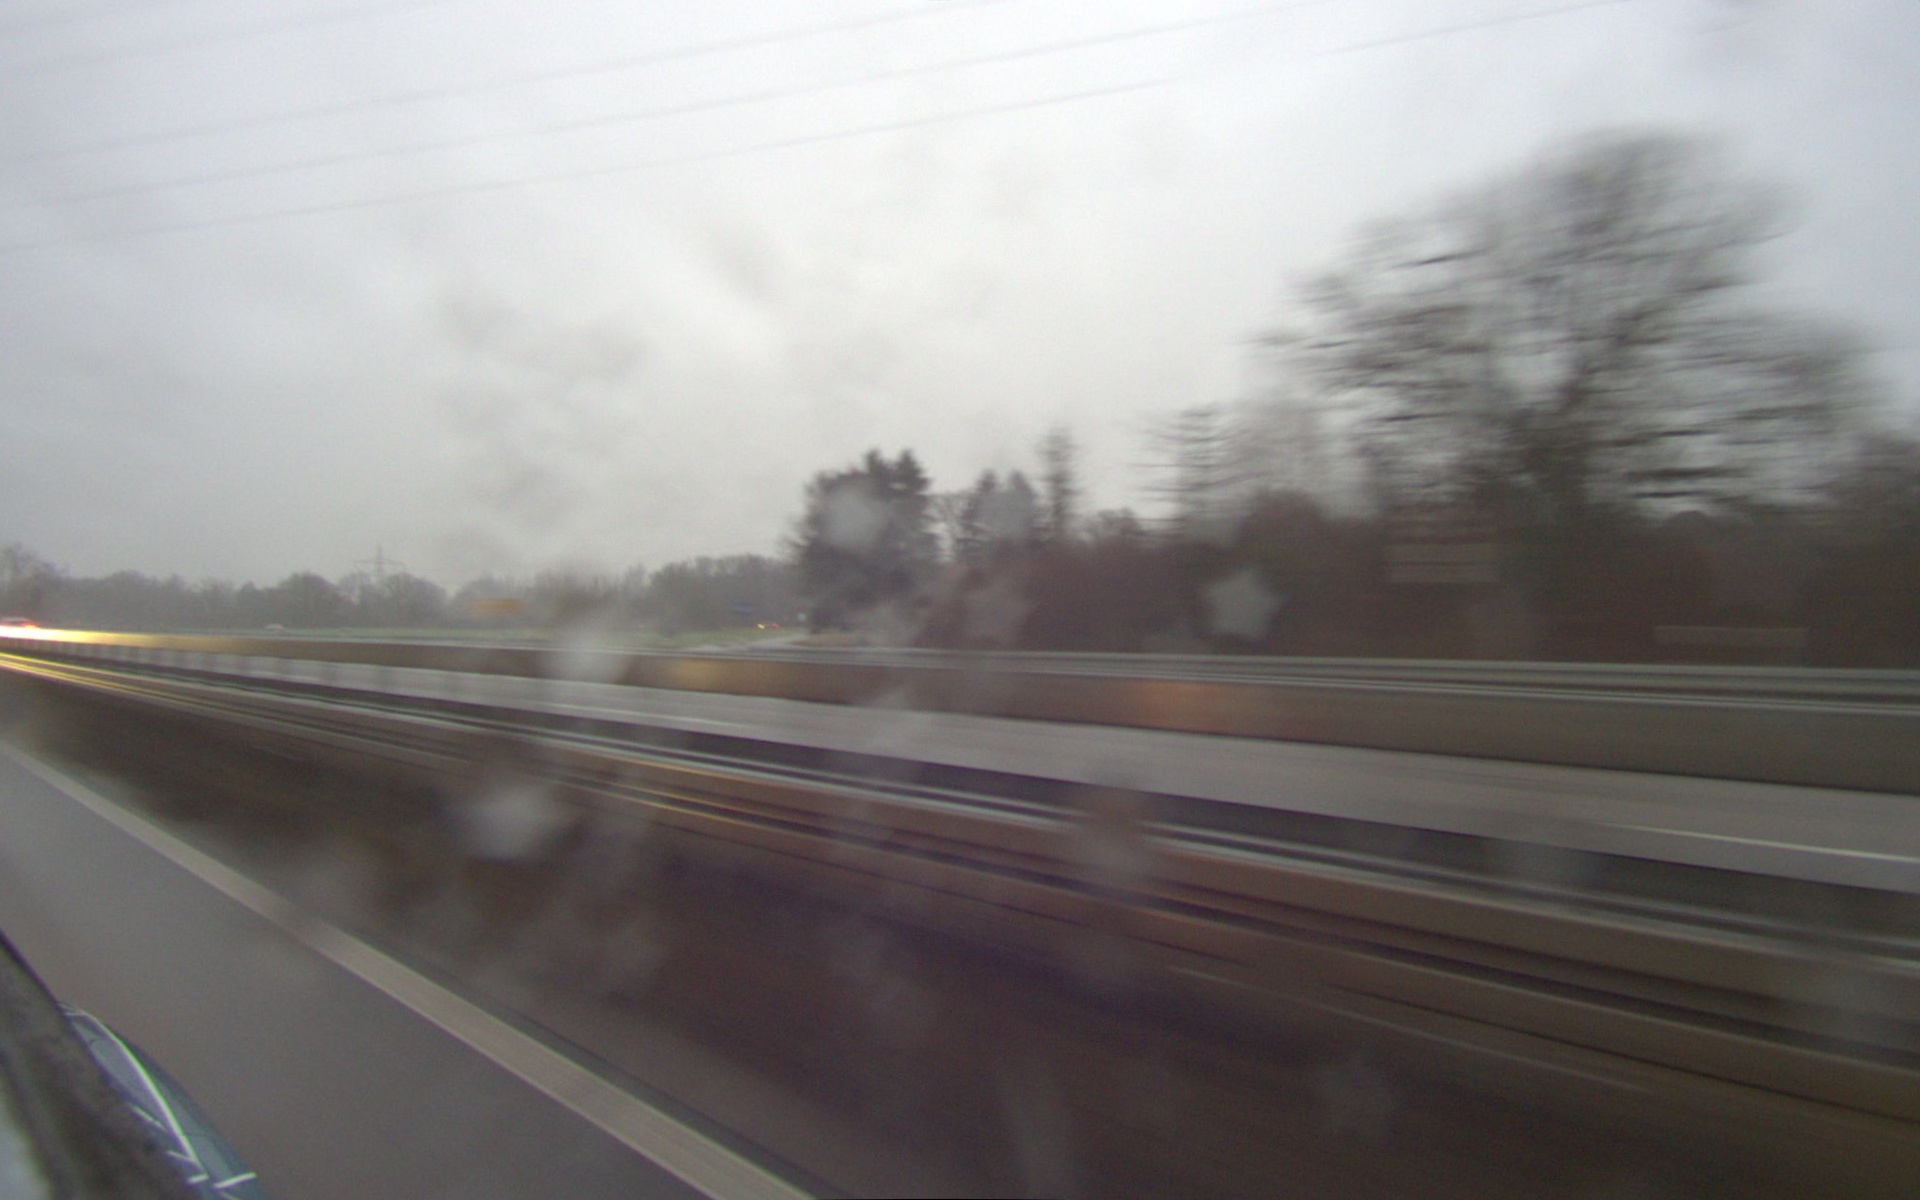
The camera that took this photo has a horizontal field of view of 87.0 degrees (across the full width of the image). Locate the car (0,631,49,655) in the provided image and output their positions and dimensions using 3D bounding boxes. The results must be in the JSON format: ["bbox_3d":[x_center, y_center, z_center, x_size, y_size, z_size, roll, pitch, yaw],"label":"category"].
[{"bbox_3d":[-59.789,2.718,64.527,4.546,1.450,1.906,-2,-2,40],"label":"car"}]
